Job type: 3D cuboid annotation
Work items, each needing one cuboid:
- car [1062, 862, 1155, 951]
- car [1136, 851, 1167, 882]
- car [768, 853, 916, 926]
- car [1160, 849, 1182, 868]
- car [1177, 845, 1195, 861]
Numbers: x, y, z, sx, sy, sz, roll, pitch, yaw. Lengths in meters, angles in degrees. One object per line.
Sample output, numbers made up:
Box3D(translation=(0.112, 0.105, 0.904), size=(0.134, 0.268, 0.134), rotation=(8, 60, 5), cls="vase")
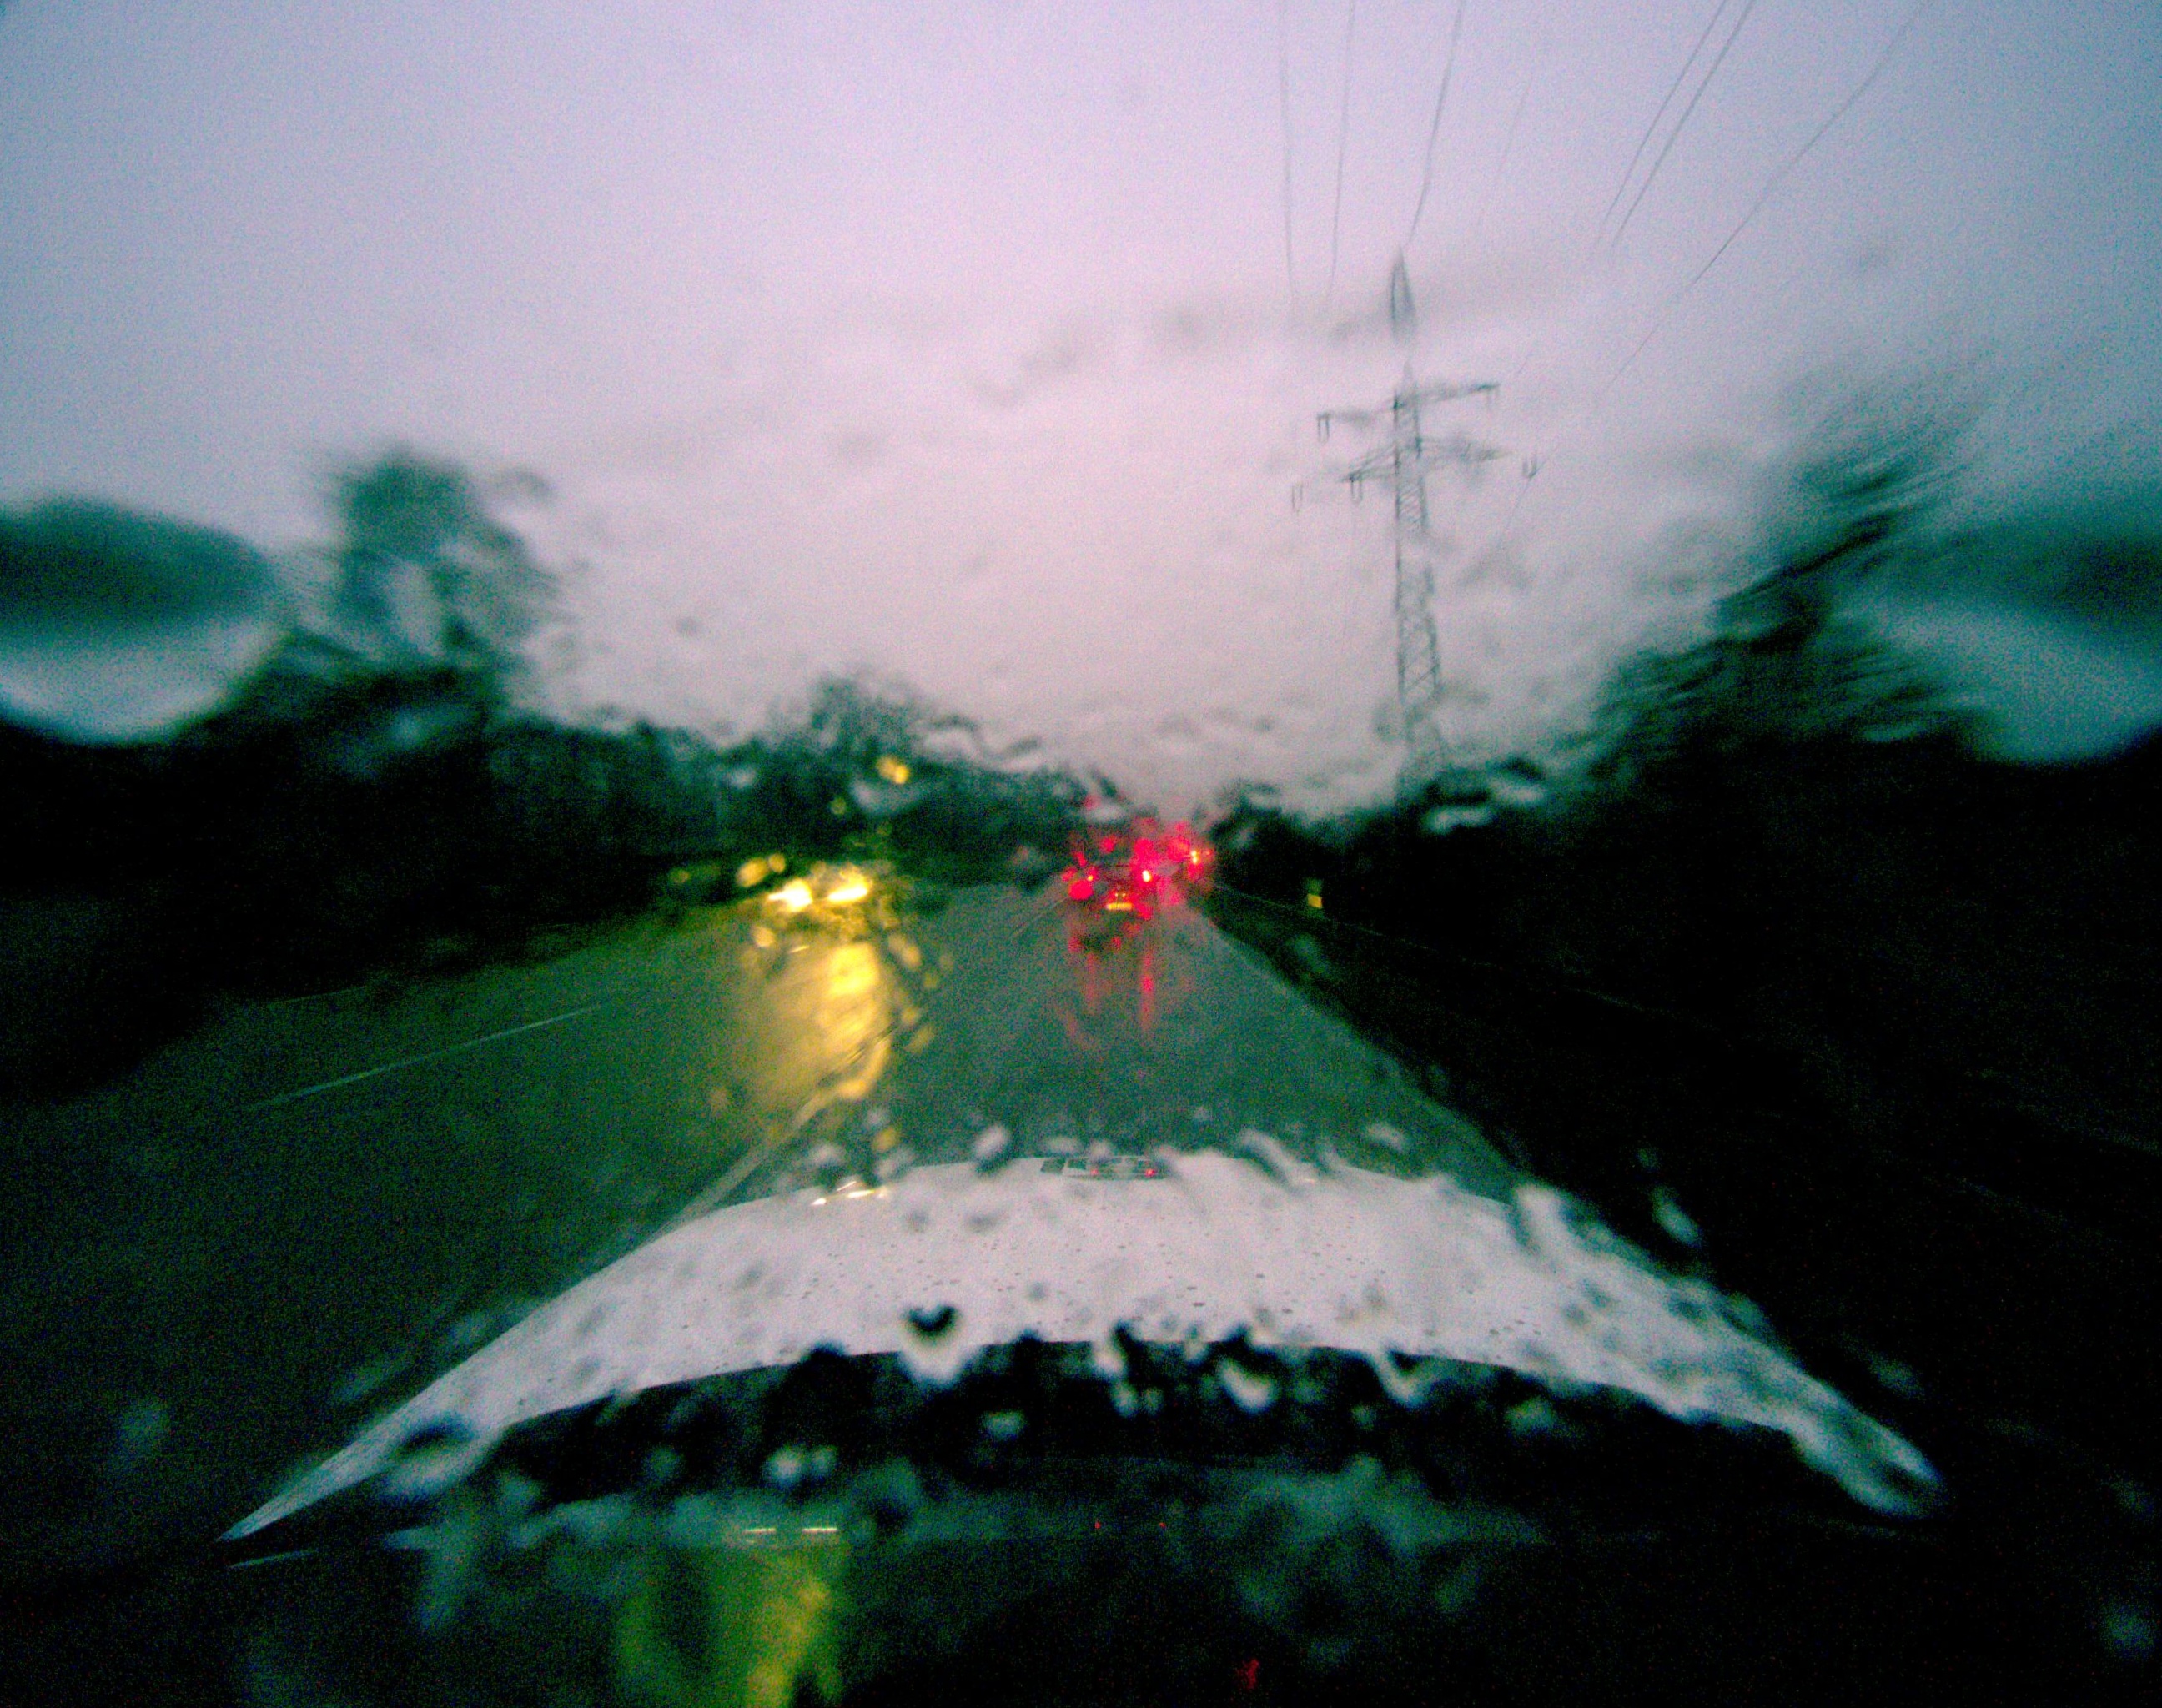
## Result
Box3D(translation=(0.672, 1.066, 18.286), size=(1.723, 1.532, 4.046), rotation=(-5, 0, 3), cls="car")
Box3D(translation=(5.198, 0.933, 60.390), size=(1.939, 2.013, 4.002), rotation=(-7, -2, 2), cls="car")
Box3D(translation=(-5.500, 0.745, 19.415), size=(1.855, 1.501, 4.527), rotation=(-2, 0, 4), cls="car")
Box3D(translation=(9.290, 0.423, 83.659), size=(1.934, 1.744, 4.013), rotation=(-1, 2, 11), cls="car")
Box3D(translation=(12.748, -0.131, 98.942), size=(1.934, 1.744, 4.011), rotation=(-1, 2, 9), cls="car")
